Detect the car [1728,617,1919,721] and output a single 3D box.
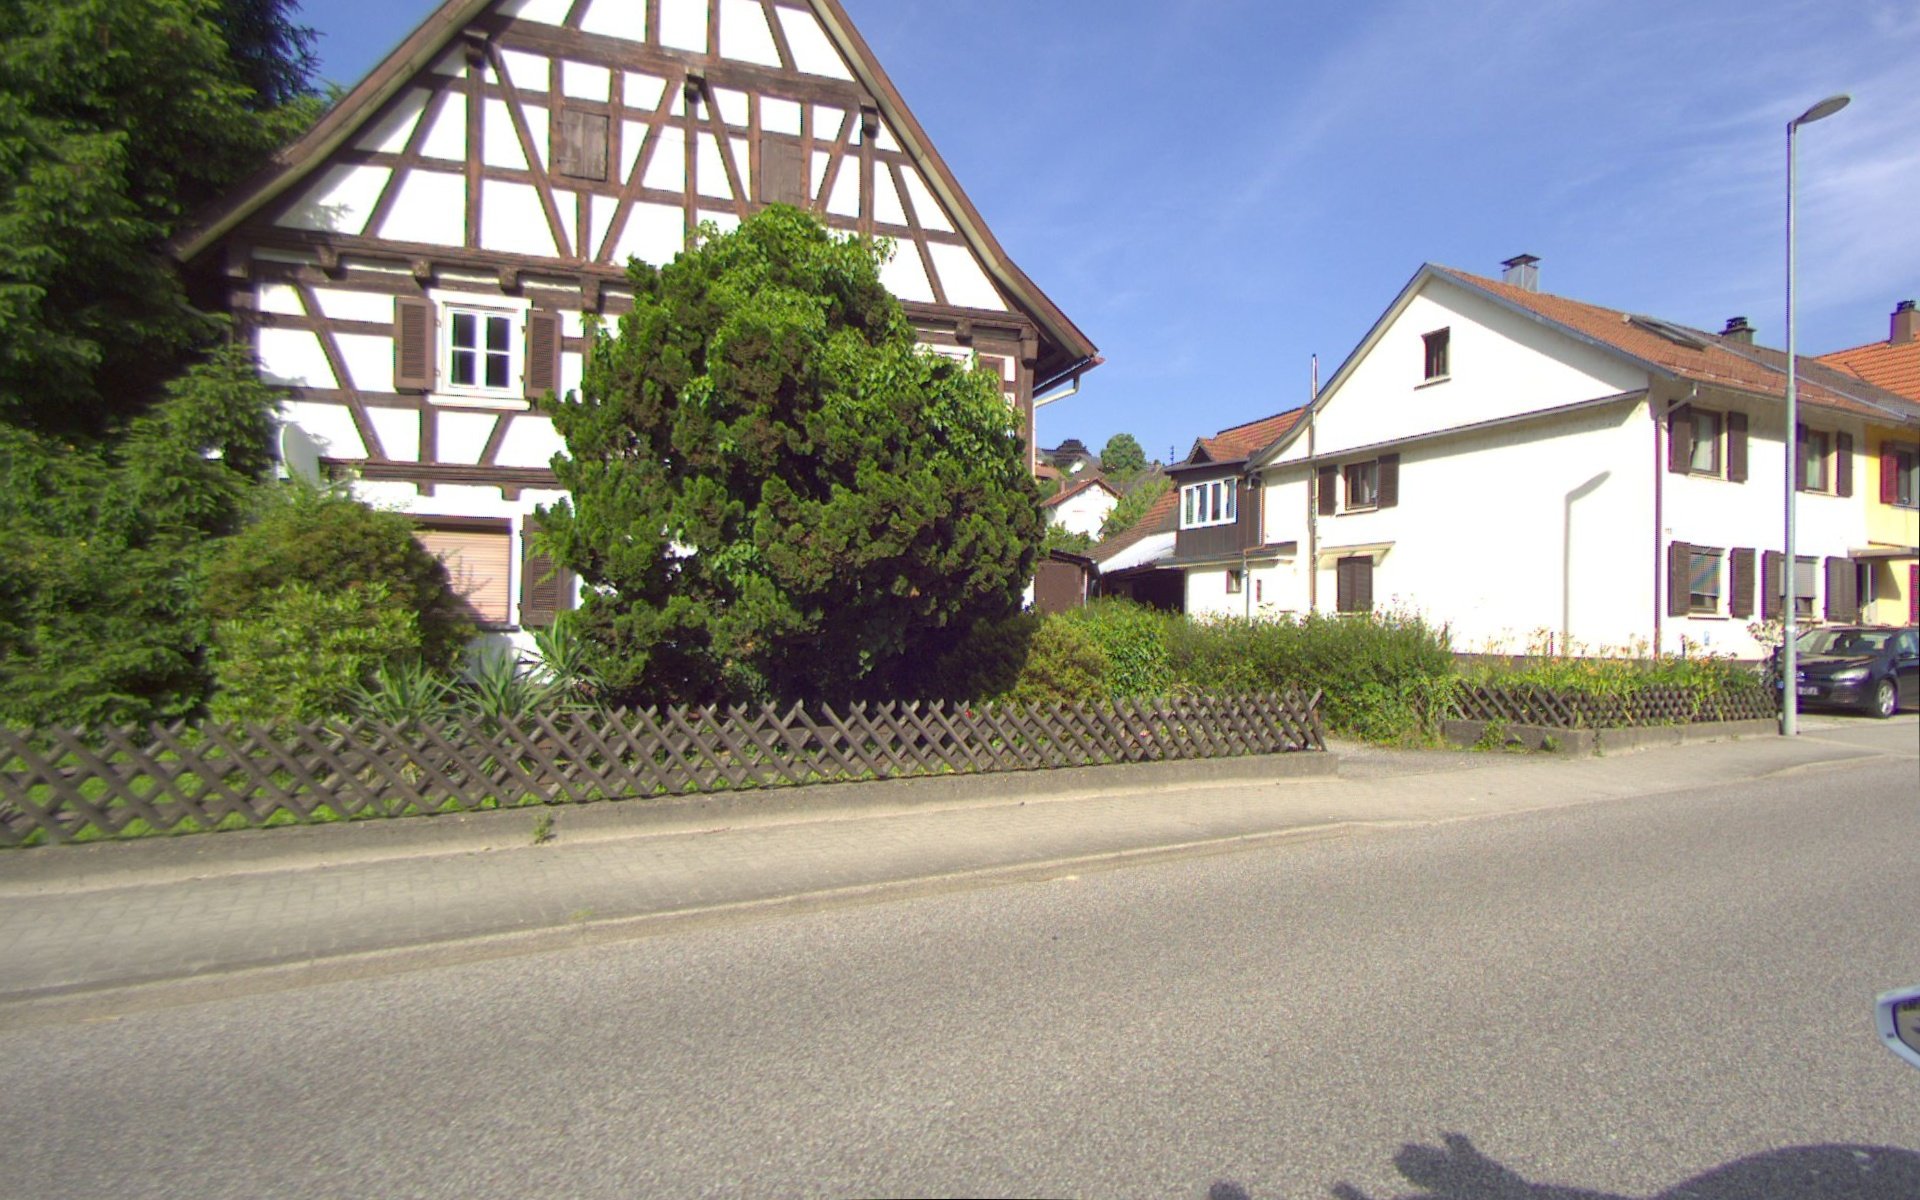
[{"bbox_3d":[15.170,1.109,17.108,4.187,1.539,1.875,1,0,-30],"label":"car"}]
